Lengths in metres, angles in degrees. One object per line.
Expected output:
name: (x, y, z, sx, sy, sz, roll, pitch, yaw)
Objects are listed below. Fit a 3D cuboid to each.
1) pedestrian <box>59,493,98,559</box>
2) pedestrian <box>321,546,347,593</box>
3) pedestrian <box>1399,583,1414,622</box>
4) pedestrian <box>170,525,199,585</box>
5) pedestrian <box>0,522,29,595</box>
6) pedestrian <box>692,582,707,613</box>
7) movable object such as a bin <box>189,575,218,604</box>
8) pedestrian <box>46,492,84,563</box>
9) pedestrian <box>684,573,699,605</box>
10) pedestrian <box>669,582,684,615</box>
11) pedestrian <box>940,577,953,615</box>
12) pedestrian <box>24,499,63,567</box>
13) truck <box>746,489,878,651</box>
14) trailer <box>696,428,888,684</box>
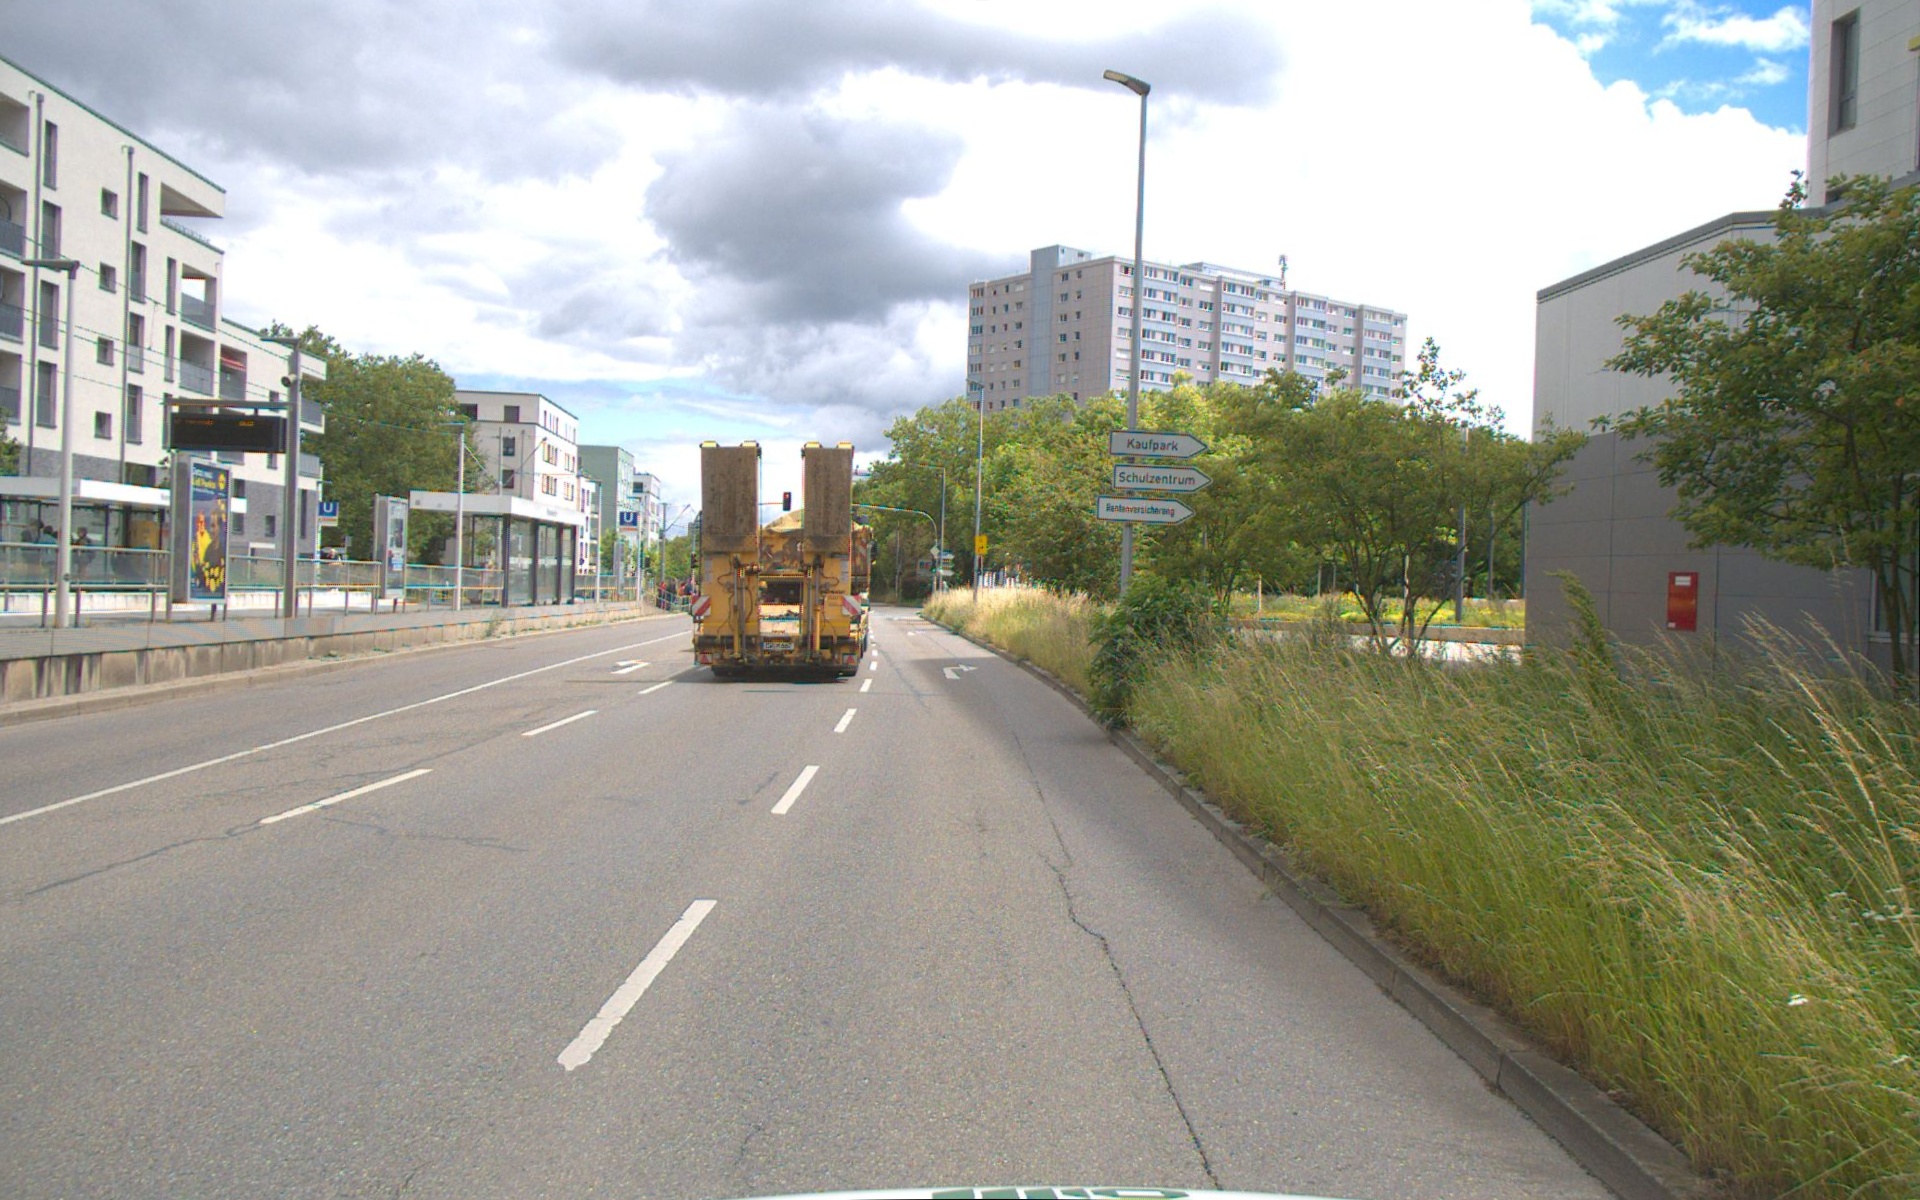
pedestrian: (-22.034, -1.842, 41.323, 0.478, 1.624, 0.676, 2, 0, 31)
pedestrian: (-23.896, -1.161, 63.145, 0.662, 1.796, 0.932, 2, 0, -7)
pedestrian: (22.871, 0.111, 84.697, 0.564, 1.985, 0.405, 2, 0, -3)
pedestrian: (-23.444, -1.359, 50.006, 0.550, 1.796, 0.677, 2, 0, -2)
pedestrian: (-23.142, -1.018, 40.480, 0.484, 1.755, 0.668, 2, 0, -38)
pedestrian: (-14.198, -0.142, 90.100, 0.668, 1.699, 0.822, 2, 0, -5)
movable object such as a bin: (-22.852, -0.321, 49.937, 0.550, 0.864, 0.677, 2, 0, -2)
pedestrian: (-23.103, -1.875, 42.718, 0.478, 1.796, 0.676, 2, 0, 31)
pedestrian: (-14.049, -0.591, 86.438, 0.668, 1.630, 0.822, 2, 0, -5)
pedestrian: (-14.616, -0.084, 85.298, 0.668, 1.630, 0.822, 2, 0, -5)
pedestrian: (-0.713, -0.206, 89.125, 0.551, 2.049, 0.490, 2, -1, -13)
pedestrian: (-22.393, -1.644, 40.428, 0.480, 1.624, 0.674, 2, 0, 39)
truck: (-3.413, -0.672, 39.351, 2.699, 3.371, 8.346, 2, 0, -4)
trailer: (-2.767, -0.685, 29.597, 2.675, 3.621, 11.246, 2, 0, -4)
